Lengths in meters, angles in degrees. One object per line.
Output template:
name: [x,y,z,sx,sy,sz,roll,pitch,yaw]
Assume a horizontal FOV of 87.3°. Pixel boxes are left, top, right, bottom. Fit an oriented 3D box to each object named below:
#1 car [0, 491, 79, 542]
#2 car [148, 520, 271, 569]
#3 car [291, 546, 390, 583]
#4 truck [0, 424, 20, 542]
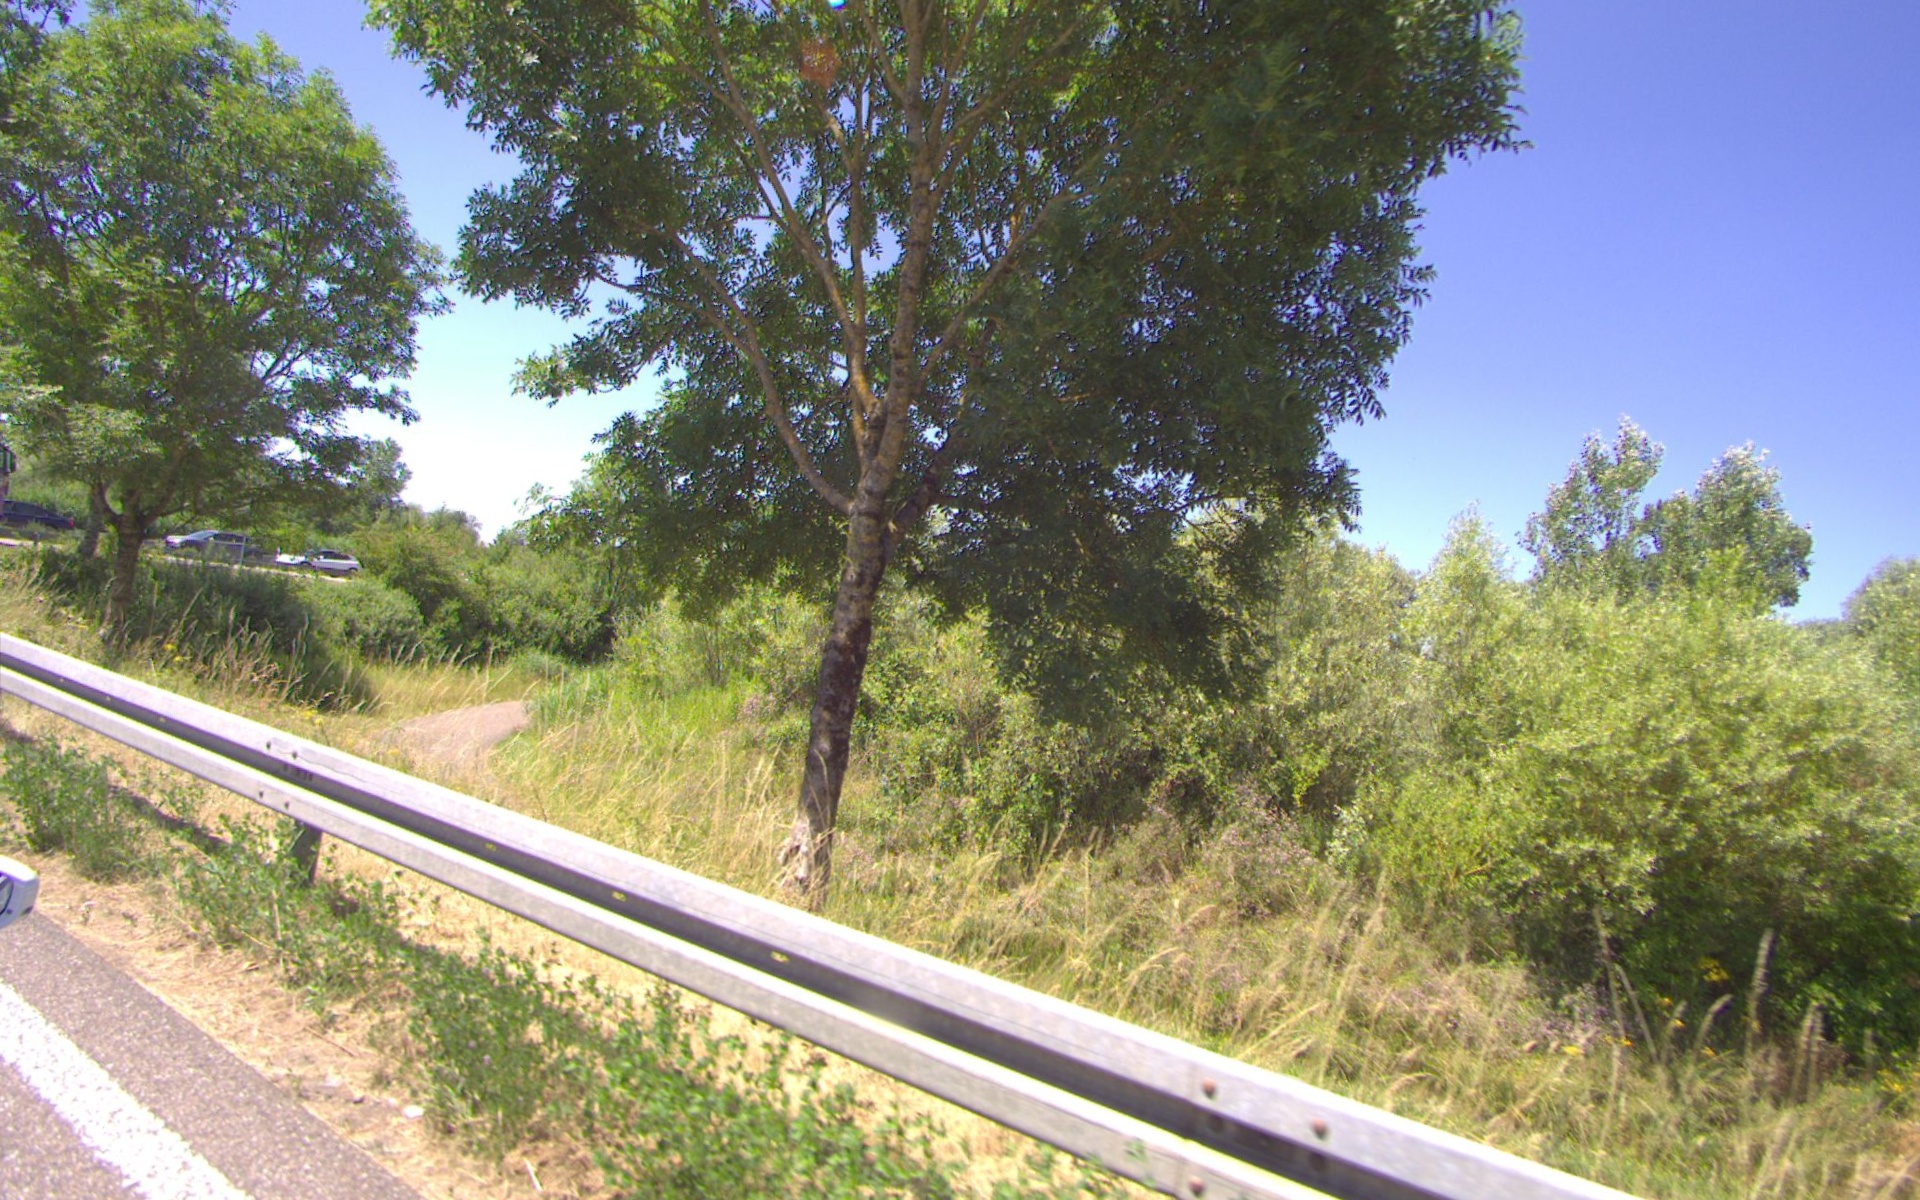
car: [-39.186,-3.608,40.651,1.899,1.650,4.941,7,-2,25]
car: [-36.005,-2.622,48.398,1.899,1.650,4.239,7,-2,24]
car: [-35.627,-2.029,58.010,1.964,1.414,4.406,7,-2,26]
truck: [-31.214,-3.930,28.072,2.805,3.866,11.827,8,-2,-22]
